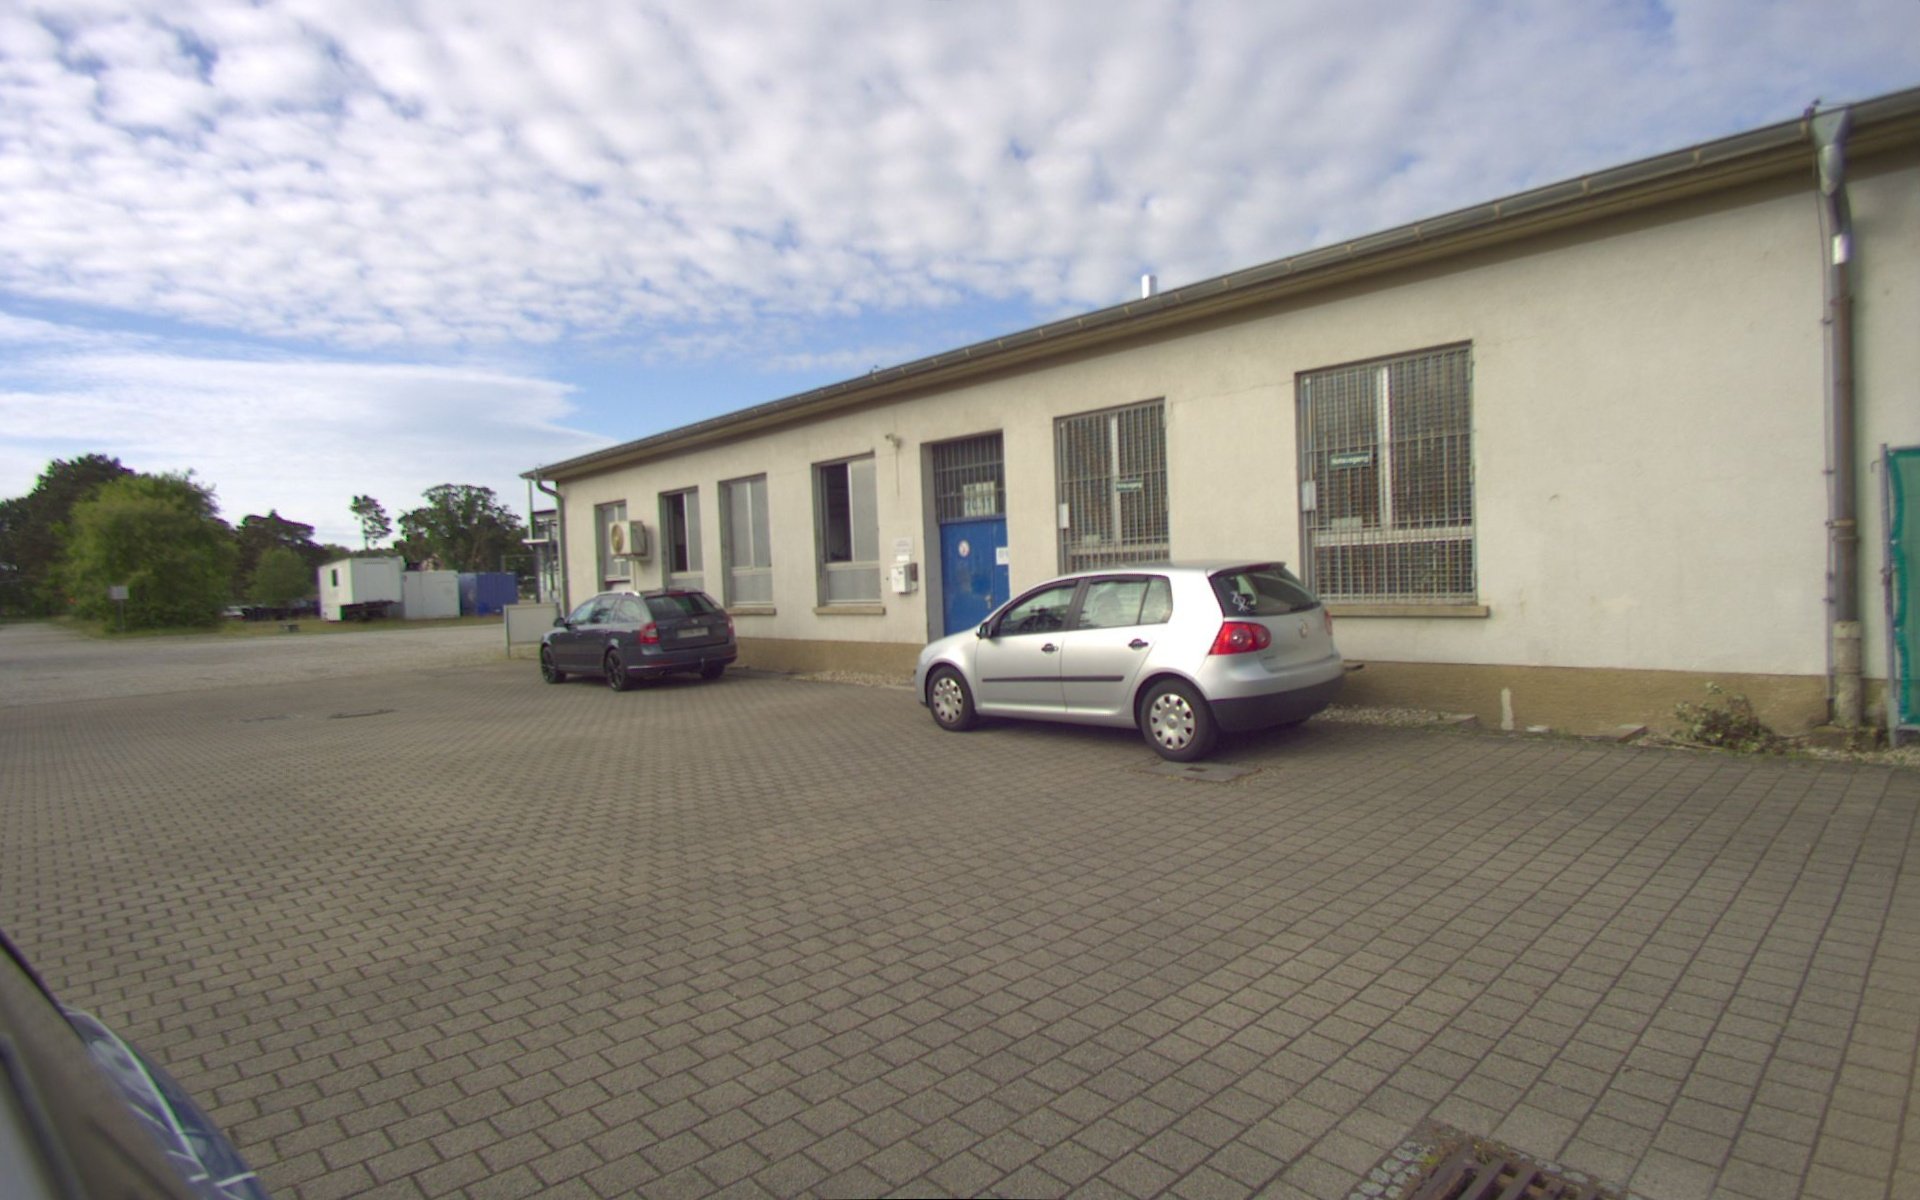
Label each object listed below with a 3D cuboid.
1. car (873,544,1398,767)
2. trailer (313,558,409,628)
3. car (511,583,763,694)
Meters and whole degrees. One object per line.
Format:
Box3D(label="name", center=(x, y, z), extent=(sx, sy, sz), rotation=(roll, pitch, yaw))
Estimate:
Box3D(label="car", center=(1.329, 0.377, 9.122), extent=(1.902, 1.449, 4.373), rotation=(-5, 3, -42))
Box3D(label="trailer", center=(-35.350, -0.340, 59.479), extent=(2.834, 3.689, 10.793), rotation=(-3, 1, -41))
Box3D(label="car", center=(-5.342, 0.562, 16.343), extent=(1.902, 1.472, 4.815), rotation=(-3, 1, -44))
